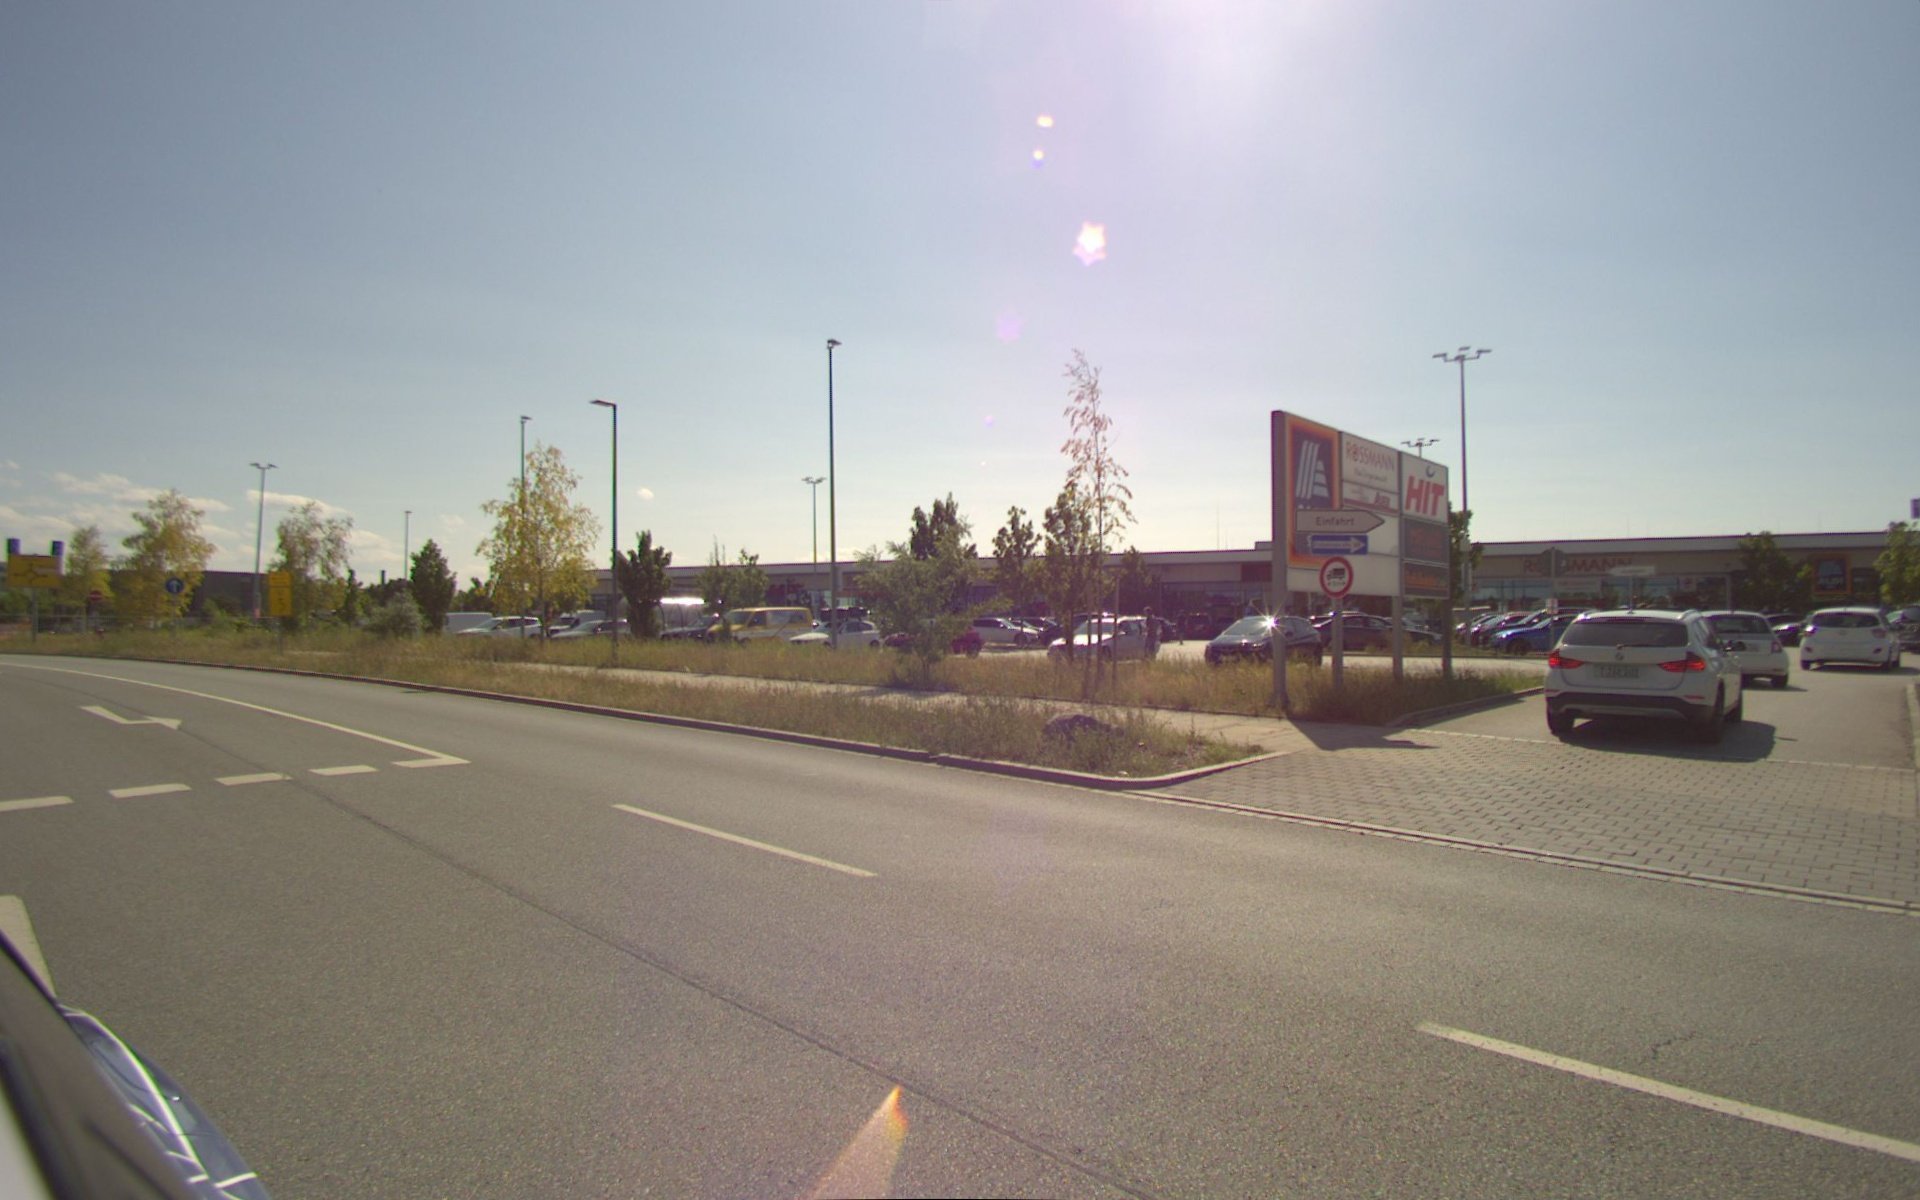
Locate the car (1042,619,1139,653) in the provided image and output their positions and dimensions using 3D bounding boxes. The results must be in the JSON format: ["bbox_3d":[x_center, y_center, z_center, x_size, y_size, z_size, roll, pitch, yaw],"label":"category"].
[{"bbox_3d":[6.228,1.711,48.367,4.322,1.561,1.706,-1,-2,20],"label":"car"}]

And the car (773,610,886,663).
[{"bbox_3d":[-4.923,1.374,38.588,1.930,1.875,4.103,-2,-2,39],"label":"car"}]

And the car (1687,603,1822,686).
[{"bbox_3d":[16.505,0.870,21.222,1.912,1.559,3.954,-1,-1,34],"label":"car"}]

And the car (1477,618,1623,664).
[{"bbox_3d":[21.394,1.477,36.895,4.322,1.593,1.706,-1,-2,20],"label":"car"}]

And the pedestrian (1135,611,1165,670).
[{"bbox_3d":[5.574,1.167,29.673,0.578,1.708,0.756,-1,-2,41],"label":"pedestrian"}]

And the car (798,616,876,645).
[{"bbox_3d":[-7.581,1.895,62.409,4.555,1.754,1.704,-1,-2,24],"label":"car"}]

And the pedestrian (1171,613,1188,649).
[{"bbox_3d":[11.020,1.550,50.773,0.776,1.837,0.566,-1,-1,22],"label":"pedestrian"}]

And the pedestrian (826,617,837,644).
[{"bbox_3d":[-7.154,1.691,56.295,0.411,1.475,0.506,-1,-2,22],"label":"pedestrian"}]

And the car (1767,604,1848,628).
[{"bbox_3d":[65.181,1.211,77.901,4.351,1.804,1.903,0,-1,22],"label":"car"}]

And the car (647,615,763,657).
[{"bbox_3d":[-10.741,1.511,42.997,1.878,1.685,4.727,-1,-2,35],"label":"car"}]

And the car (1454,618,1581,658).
[{"bbox_3d":[22.950,1.551,41.834,4.322,1.588,1.706,-1,-2,20],"label":"car"}]

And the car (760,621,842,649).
[{"bbox_3d":[-8.997,1.986,57.236,4.320,1.538,1.706,-1,-2,19],"label":"car"}]

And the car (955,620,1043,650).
[{"bbox_3d":[2.034,1.844,53.350,4.326,1.538,1.704,-1,-2,23],"label":"car"}]

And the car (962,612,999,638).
[{"bbox_3d":[1.557,1.853,74.901,1.701,1.821,4.333,-1,-2,15],"label":"car"}]

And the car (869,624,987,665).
[{"bbox_3d":[-1.075,1.521,35.600,1.935,1.358,4.101,-2,-2,41],"label":"car"}]

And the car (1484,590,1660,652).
[{"bbox_3d":[20.617,0.738,34.347,4.798,2.001,1.706,-1,-2,20],"label":"car"}]

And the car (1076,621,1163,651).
[{"bbox_3d":[8.468,1.922,53.641,4.322,1.544,1.706,-1,-2,20],"label":"car"}]

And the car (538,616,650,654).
[{"bbox_3d":[-17.031,1.602,47.354,1.995,1.685,4.661,-1,-2,34],"label":"car"}]

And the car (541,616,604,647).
[{"bbox_3d":[-33.256,2.675,87.001,1.924,2.607,5.684,-1,-2,18],"label":"car"}]

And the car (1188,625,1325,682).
[{"bbox_3d":[7.822,1.348,26.495,1.935,1.358,4.101,-2,-2,41],"label":"car"}]

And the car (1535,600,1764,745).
[{"bbox_3d":[9.025,0.822,13.097,1.917,1.559,4.167,-1,-2,42],"label":"car"}]

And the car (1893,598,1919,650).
[{"bbox_3d":[35.327,0.829,34.760,4.345,1.807,1.906,0,-1,18],"label":"car"}]

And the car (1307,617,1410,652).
[{"bbox_3d":[18.296,1.574,46.618,4.322,1.556,1.706,-1,-2,20],"label":"car"}]

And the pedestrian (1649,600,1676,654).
[{"bbox_3d":[23.232,0.898,33.494,0.543,1.773,0.794,0,-1,22],"label":"pedestrian"}]

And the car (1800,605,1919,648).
[{"bbox_3d":[38.020,1.079,42.028,4.345,1.731,1.906,0,-1,18],"label":"car"}]

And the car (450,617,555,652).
[{"bbox_3d":[-23.379,1.755,51.885,1.994,1.685,4.553,-1,-2,33],"label":"car"}]

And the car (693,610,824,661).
[{"bbox_3d":[-8.328,1.458,42.433,1.995,1.980,5.632,-1,-2,35],"label":"car"}]

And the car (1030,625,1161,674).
[{"bbox_3d":[4.065,1.414,29.945,1.935,1.358,4.101,-2,-2,41],"label":"car"}]

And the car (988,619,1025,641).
[{"bbox_3d":[3.369,2.124,72.578,1.701,1.530,4.333,-1,-2,15],"label":"car"}]

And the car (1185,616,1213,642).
[{"bbox_3d":[16.153,1.953,68.281,1.701,1.646,4.333,-1,-2,15],"label":"car"}]

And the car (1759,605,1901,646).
[{"bbox_3d":[38.651,1.114,45.101,4.345,1.752,1.906,0,-1,18],"label":"car"}]

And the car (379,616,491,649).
[{"bbox_3d":[-28.006,1.746,54.175,1.990,1.685,5.148,-1,-2,27],"label":"car"}]

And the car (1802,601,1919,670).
[{"bbox_3d":[22.085,0.839,24.783,1.918,1.559,3.941,-1,-2,45],"label":"car"}]

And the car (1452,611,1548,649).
[{"bbox_3d":[29.047,1.604,54.577,4.322,1.973,1.706,-1,-2,20],"label":"car"}]

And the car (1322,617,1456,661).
[{"bbox_3d":[15.317,1.387,36.374,4.322,1.528,1.706,-1,-2,20],"label":"car"}]

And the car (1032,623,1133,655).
[{"bbox_3d":[5.577,1.757,46.024,4.322,1.428,1.706,-1,-2,20],"label":"car"}]
